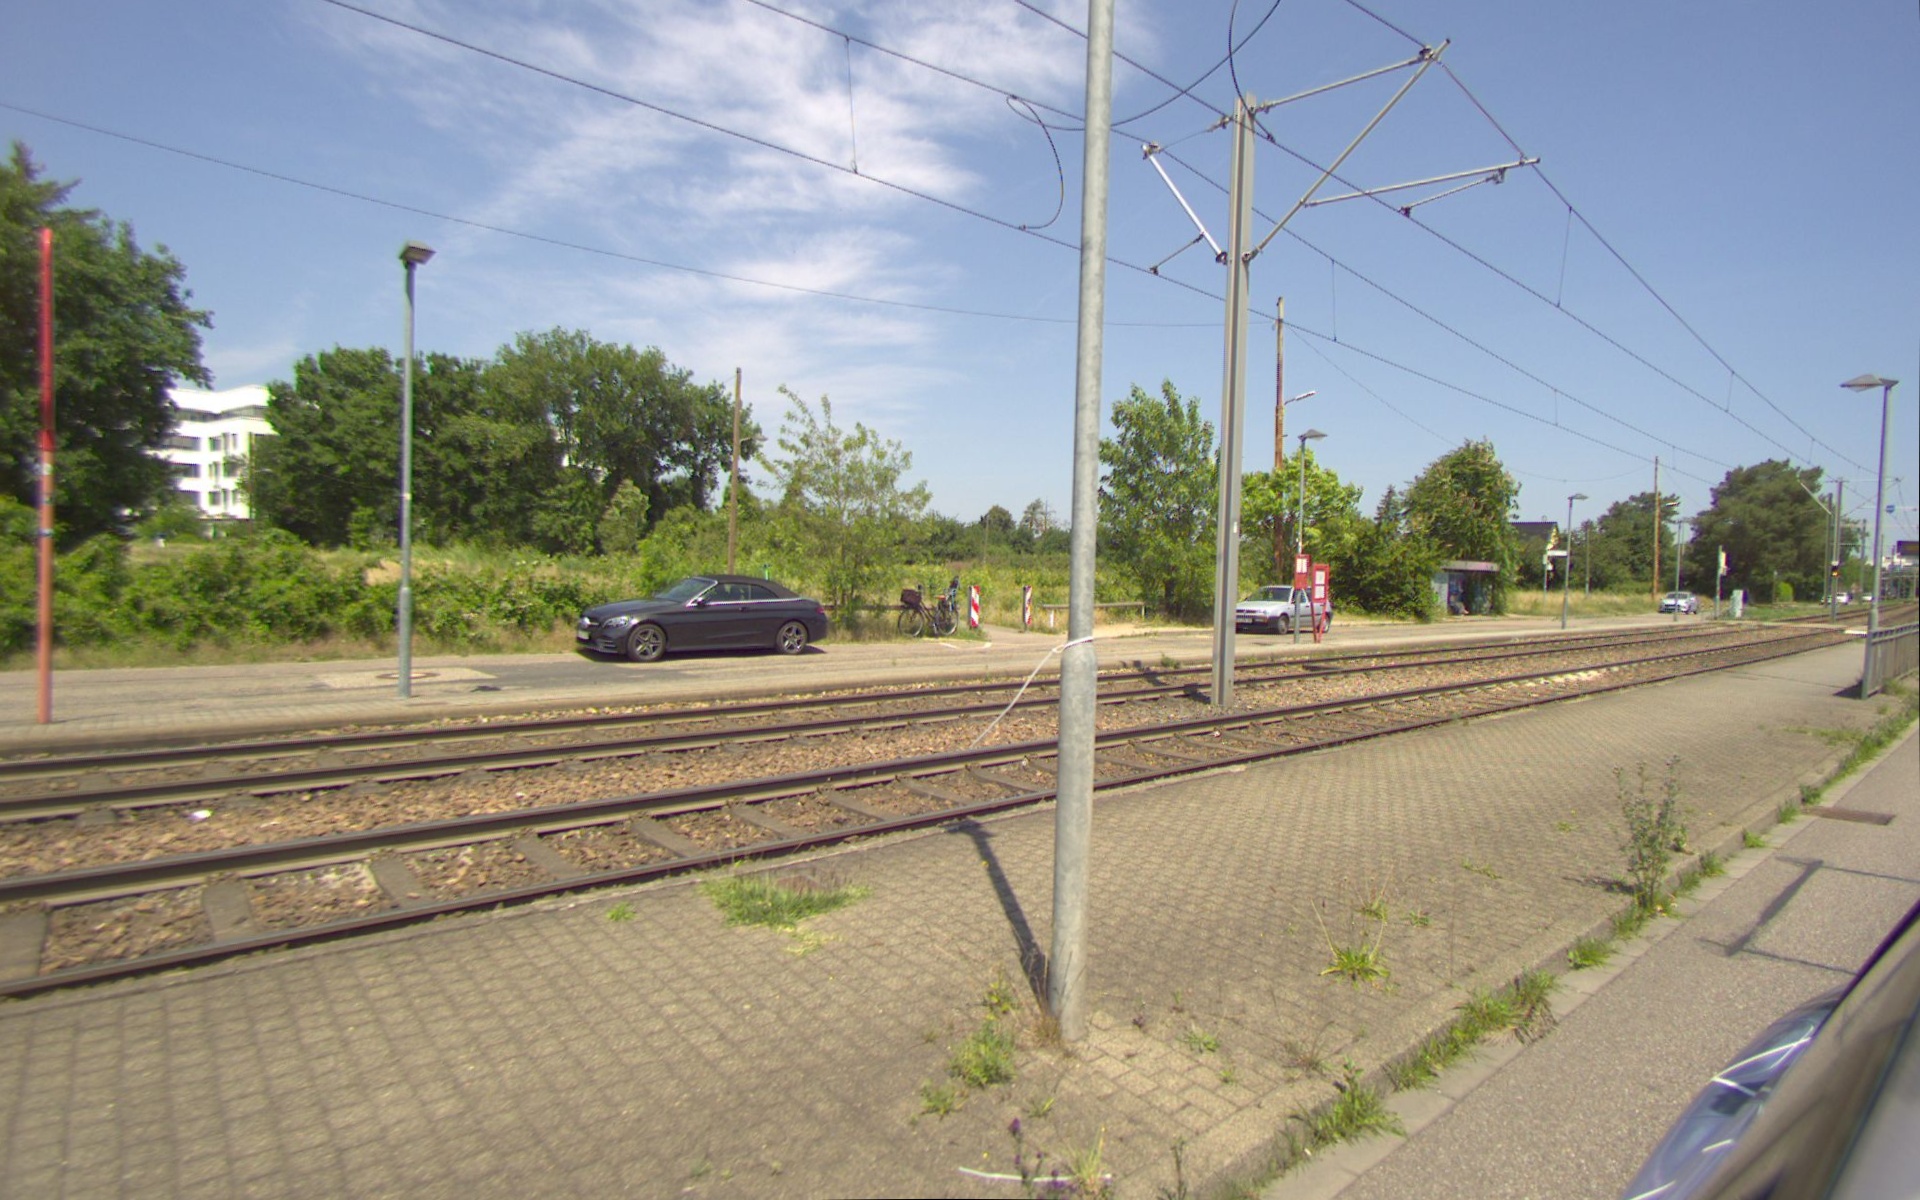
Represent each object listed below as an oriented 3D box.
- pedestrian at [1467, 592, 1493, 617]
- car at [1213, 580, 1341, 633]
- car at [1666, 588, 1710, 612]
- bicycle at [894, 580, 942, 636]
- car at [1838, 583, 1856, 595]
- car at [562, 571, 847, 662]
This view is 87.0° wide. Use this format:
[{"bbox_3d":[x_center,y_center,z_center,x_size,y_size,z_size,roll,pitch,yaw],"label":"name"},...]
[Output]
[{"bbox_3d":[23.410,0.204,45.551,0.705,1.100,0.812,0,1,-34],"label":"pedestrian"},{"bbox_3d":[9.480,0.153,30.136,3.932,1.440,1.942,0,1,-42],"label":"car"},{"bbox_3d":[48.935,-0.019,67.994,3.935,1.507,1.714,-1,1,-44],"label":"car"},{"bbox_3d":[-1.001,0.170,24.458,0.693,1.284,1.674,2,2,13],"label":"bicycle"},{"bbox_3d":[141.420,-1.703,161.304,4.512,1.849,1.860,-1,1,-45],"label":"car"},{"bbox_3d":[-4.474,0.228,18.245,4.789,1.440,1.622,0,1,-42],"label":"car"}]
